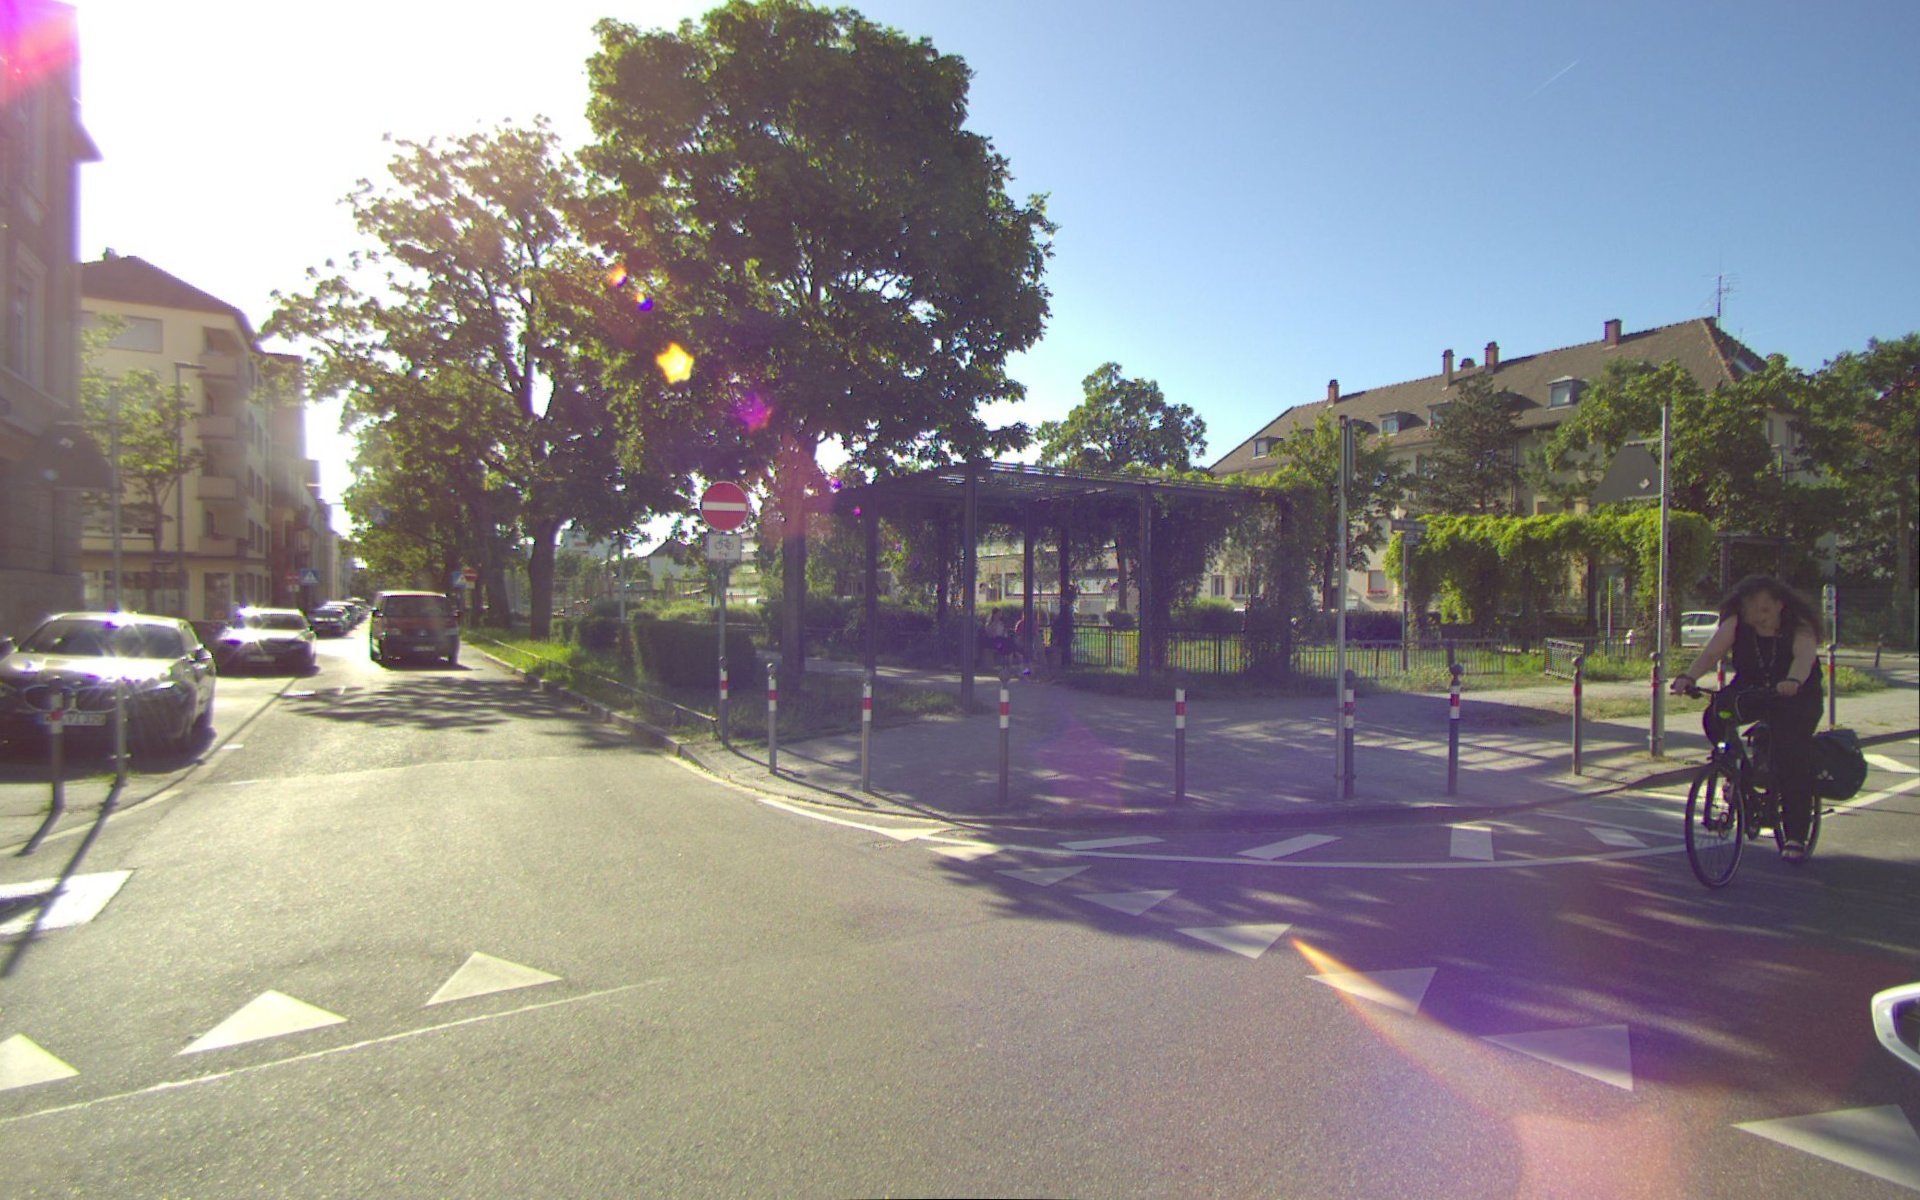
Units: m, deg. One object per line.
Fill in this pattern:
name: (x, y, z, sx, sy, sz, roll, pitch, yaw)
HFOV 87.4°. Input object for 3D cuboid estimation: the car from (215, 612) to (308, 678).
car: (-17.114, 1.070, 24.750, 1.664, 1.434, 3.869, 4, -3, -33)

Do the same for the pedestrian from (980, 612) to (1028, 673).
pedestrian: (0.862, 0.815, 19.619, 0.592, 1.165, 0.839, 0, 0, -29)

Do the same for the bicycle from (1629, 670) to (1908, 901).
bicycle: (4.943, 1.035, 6.099, 2.040, 1.123, 0.640, 0, 0, -30)

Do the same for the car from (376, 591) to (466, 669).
car: (-15.235, 0.827, 28.270, 1.876, 1.986, 4.843, 2, -2, -32)

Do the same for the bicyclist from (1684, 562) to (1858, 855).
bicyclist: (4.890, 0.614, 6.068, 0.629, 1.641, 0.640, 0, 0, -30)

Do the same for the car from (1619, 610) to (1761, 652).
car: (25.698, 1.070, 35.470, 1.687, 1.417, 3.745, 1, -1, -31)

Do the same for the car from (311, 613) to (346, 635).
car: (-35.908, 1.345, 57.163, 1.662, 1.148, 3.716, 0, 0, -32)

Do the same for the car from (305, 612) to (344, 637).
car: (-33.234, 1.260, 52.599, 1.662, 1.278, 3.767, 0, 0, -32)

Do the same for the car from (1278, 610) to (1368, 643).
car: (17.727, 1.281, 49.194, 1.780, 1.514, 3.968, 1, -1, -30)

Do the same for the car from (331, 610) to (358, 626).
car: (-44.918, 1.307, 73.293, 1.662, 1.148, 3.716, 0, 0, -32)

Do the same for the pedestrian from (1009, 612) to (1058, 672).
pedestrian: (1.448, 0.816, 19.948, 0.592, 1.154, 0.868, 0, 0, -29)

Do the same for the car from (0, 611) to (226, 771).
car: (-9.780, 0.929, 11.567, 1.849, 1.503, 3.978, 4, -3, -33)
